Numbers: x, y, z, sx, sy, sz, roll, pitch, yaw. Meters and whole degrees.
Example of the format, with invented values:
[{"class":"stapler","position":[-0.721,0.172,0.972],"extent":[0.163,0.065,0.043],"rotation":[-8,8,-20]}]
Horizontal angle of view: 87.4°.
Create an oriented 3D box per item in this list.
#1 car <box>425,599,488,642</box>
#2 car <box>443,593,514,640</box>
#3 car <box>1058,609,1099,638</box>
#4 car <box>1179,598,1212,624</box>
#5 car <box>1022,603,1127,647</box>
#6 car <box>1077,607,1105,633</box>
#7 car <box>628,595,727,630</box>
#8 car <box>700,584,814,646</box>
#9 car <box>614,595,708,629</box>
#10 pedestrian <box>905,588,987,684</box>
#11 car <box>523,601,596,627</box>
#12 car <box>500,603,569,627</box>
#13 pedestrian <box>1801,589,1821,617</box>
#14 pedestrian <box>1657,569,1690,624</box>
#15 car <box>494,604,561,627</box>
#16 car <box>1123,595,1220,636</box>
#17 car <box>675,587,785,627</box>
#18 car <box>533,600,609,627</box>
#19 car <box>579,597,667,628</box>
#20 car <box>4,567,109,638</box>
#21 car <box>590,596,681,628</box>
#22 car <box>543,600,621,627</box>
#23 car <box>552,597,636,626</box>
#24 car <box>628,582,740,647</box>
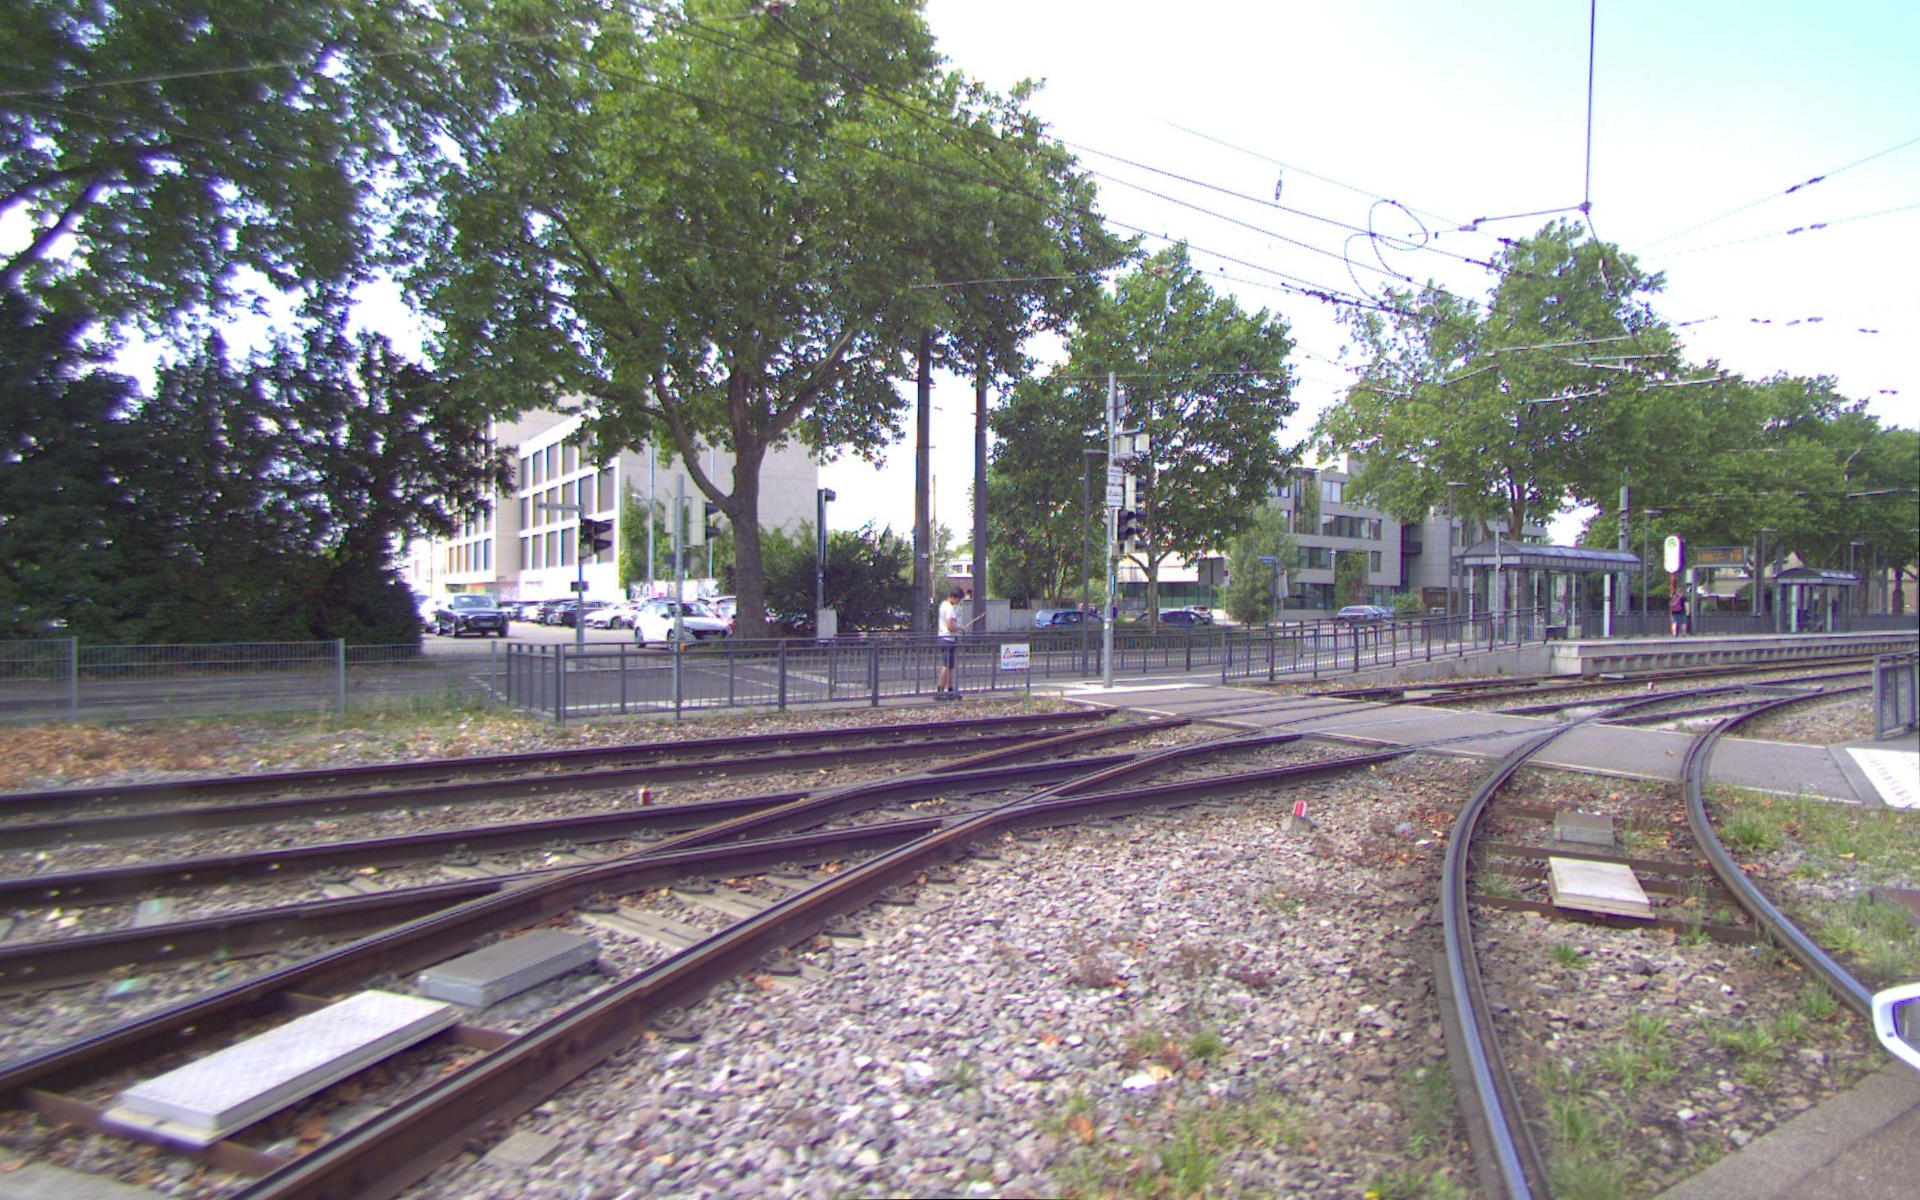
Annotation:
[{"class":"car","position":[-20.684,0.820,41.154],"extent":[1.760,1.446,3.961],"rotation":[2,1,-34]},{"class":"car","position":[-17.789,0.569,37.024],"extent":[1.760,1.446,3.961],"rotation":[2,1,-34]},{"class":"car","position":[8.798,1.767,74.991],"extent":[1.963,2.040,4.434],"rotation":[1,-2,-8]},{"class":"car","position":[18.971,0.907,81.109],"extent":[1.960,2.040,4.002],"rotation":[1,-1,4]},{"class":"car","position":[4.257,0.916,37.216],"extent":[3.614,1.555,1.681],"rotation":[1,-1,-33]},{"class":"car","position":[10.529,1.584,80.867],"extent":[1.960,2.040,4.002],"rotation":[1,-1,4]},{"class":"car","position":[-13.220,0.627,47.072],"extent":[4.068,1.502,1.866],"rotation":[3,-3,-37]},{"class":"car","position":[-6.214,0.458,30.464],"extent":[1.788,1.773,3.956],"rotation":[2,-1,-38]},{"class":"car","position":[-14.682,0.622,49.433],"extent":[4.068,1.502,1.866],"rotation":[3,-3,-37]},{"class":"pedestrian","position":[-0.199,0.538,14.916],"extent":[0.849,1.361,0.921],"rotation":[0,-2,30]},{"class":"car","position":[-25.767,0.934,64.670],"extent":[4.068,1.502,1.866],"rotation":[3,-3,-37]},{"class":"car","position":[-29.427,1.082,69.570],"extent":[4.068,1.502,1.866],"rotation":[3,-3,-37]},{"class":"pedestrian","position":[40.620,0.150,47.933],"extent":[0.760,1.286,0.549],"rotation":[2,-1,-35]},{"class":"pedestrian","position":[24.575,-0.116,34.615],"extent":[0.856,1.870,0.701],"rotation":[0,0,-37]},{"class":"car","position":[-30.704,1.136,71.339],"extent":[4.068,1.502,1.866],"rotation":[3,-3,-37]},{"class":"car","position":[8.381,0.639,39.712],"extent":[3.614,1.555,1.681],"rotation":[1,-1,-33]},{"class":"car","position":[-9.302,0.304,40.778],"extent":[3.963,1.495,1.785],"rotation":[2,-1,-37]},{"class":"car","position":[-24.239,0.870,62.573],"extent":[4.068,1.502,1.866],"rotation":[3,-3,-37]},{"class":"car","position":[-17.955,0.697,53.525],"extent":[4.068,1.502,1.866],"rotation":[3,-3,-37]},{"class":"car","position":[-27.060,0.141,30.223],"extent":[1.982,1.924,4.066],"rotation":[3,-3,-38]},{"class":"car","position":[-16.637,0.636,51.598],"extent":[4.068,1.502,1.866],"rotation":[3,-3,-37]},{"class":"car","position":[-22.773,0.852,60.576],"extent":[4.068,1.502,1.866],"rotation":[3,-3,-37]},{"class":"car","position":[-20.614,0.675,56.577],"extent":[4.068,1.502,1.866],"rotation":[3,-3,-37]},{"class":"car","position":[-8.190,0.427,29.605],"extent":[1.788,1.773,3.956],"rotation":[2,-1,-38]}]
